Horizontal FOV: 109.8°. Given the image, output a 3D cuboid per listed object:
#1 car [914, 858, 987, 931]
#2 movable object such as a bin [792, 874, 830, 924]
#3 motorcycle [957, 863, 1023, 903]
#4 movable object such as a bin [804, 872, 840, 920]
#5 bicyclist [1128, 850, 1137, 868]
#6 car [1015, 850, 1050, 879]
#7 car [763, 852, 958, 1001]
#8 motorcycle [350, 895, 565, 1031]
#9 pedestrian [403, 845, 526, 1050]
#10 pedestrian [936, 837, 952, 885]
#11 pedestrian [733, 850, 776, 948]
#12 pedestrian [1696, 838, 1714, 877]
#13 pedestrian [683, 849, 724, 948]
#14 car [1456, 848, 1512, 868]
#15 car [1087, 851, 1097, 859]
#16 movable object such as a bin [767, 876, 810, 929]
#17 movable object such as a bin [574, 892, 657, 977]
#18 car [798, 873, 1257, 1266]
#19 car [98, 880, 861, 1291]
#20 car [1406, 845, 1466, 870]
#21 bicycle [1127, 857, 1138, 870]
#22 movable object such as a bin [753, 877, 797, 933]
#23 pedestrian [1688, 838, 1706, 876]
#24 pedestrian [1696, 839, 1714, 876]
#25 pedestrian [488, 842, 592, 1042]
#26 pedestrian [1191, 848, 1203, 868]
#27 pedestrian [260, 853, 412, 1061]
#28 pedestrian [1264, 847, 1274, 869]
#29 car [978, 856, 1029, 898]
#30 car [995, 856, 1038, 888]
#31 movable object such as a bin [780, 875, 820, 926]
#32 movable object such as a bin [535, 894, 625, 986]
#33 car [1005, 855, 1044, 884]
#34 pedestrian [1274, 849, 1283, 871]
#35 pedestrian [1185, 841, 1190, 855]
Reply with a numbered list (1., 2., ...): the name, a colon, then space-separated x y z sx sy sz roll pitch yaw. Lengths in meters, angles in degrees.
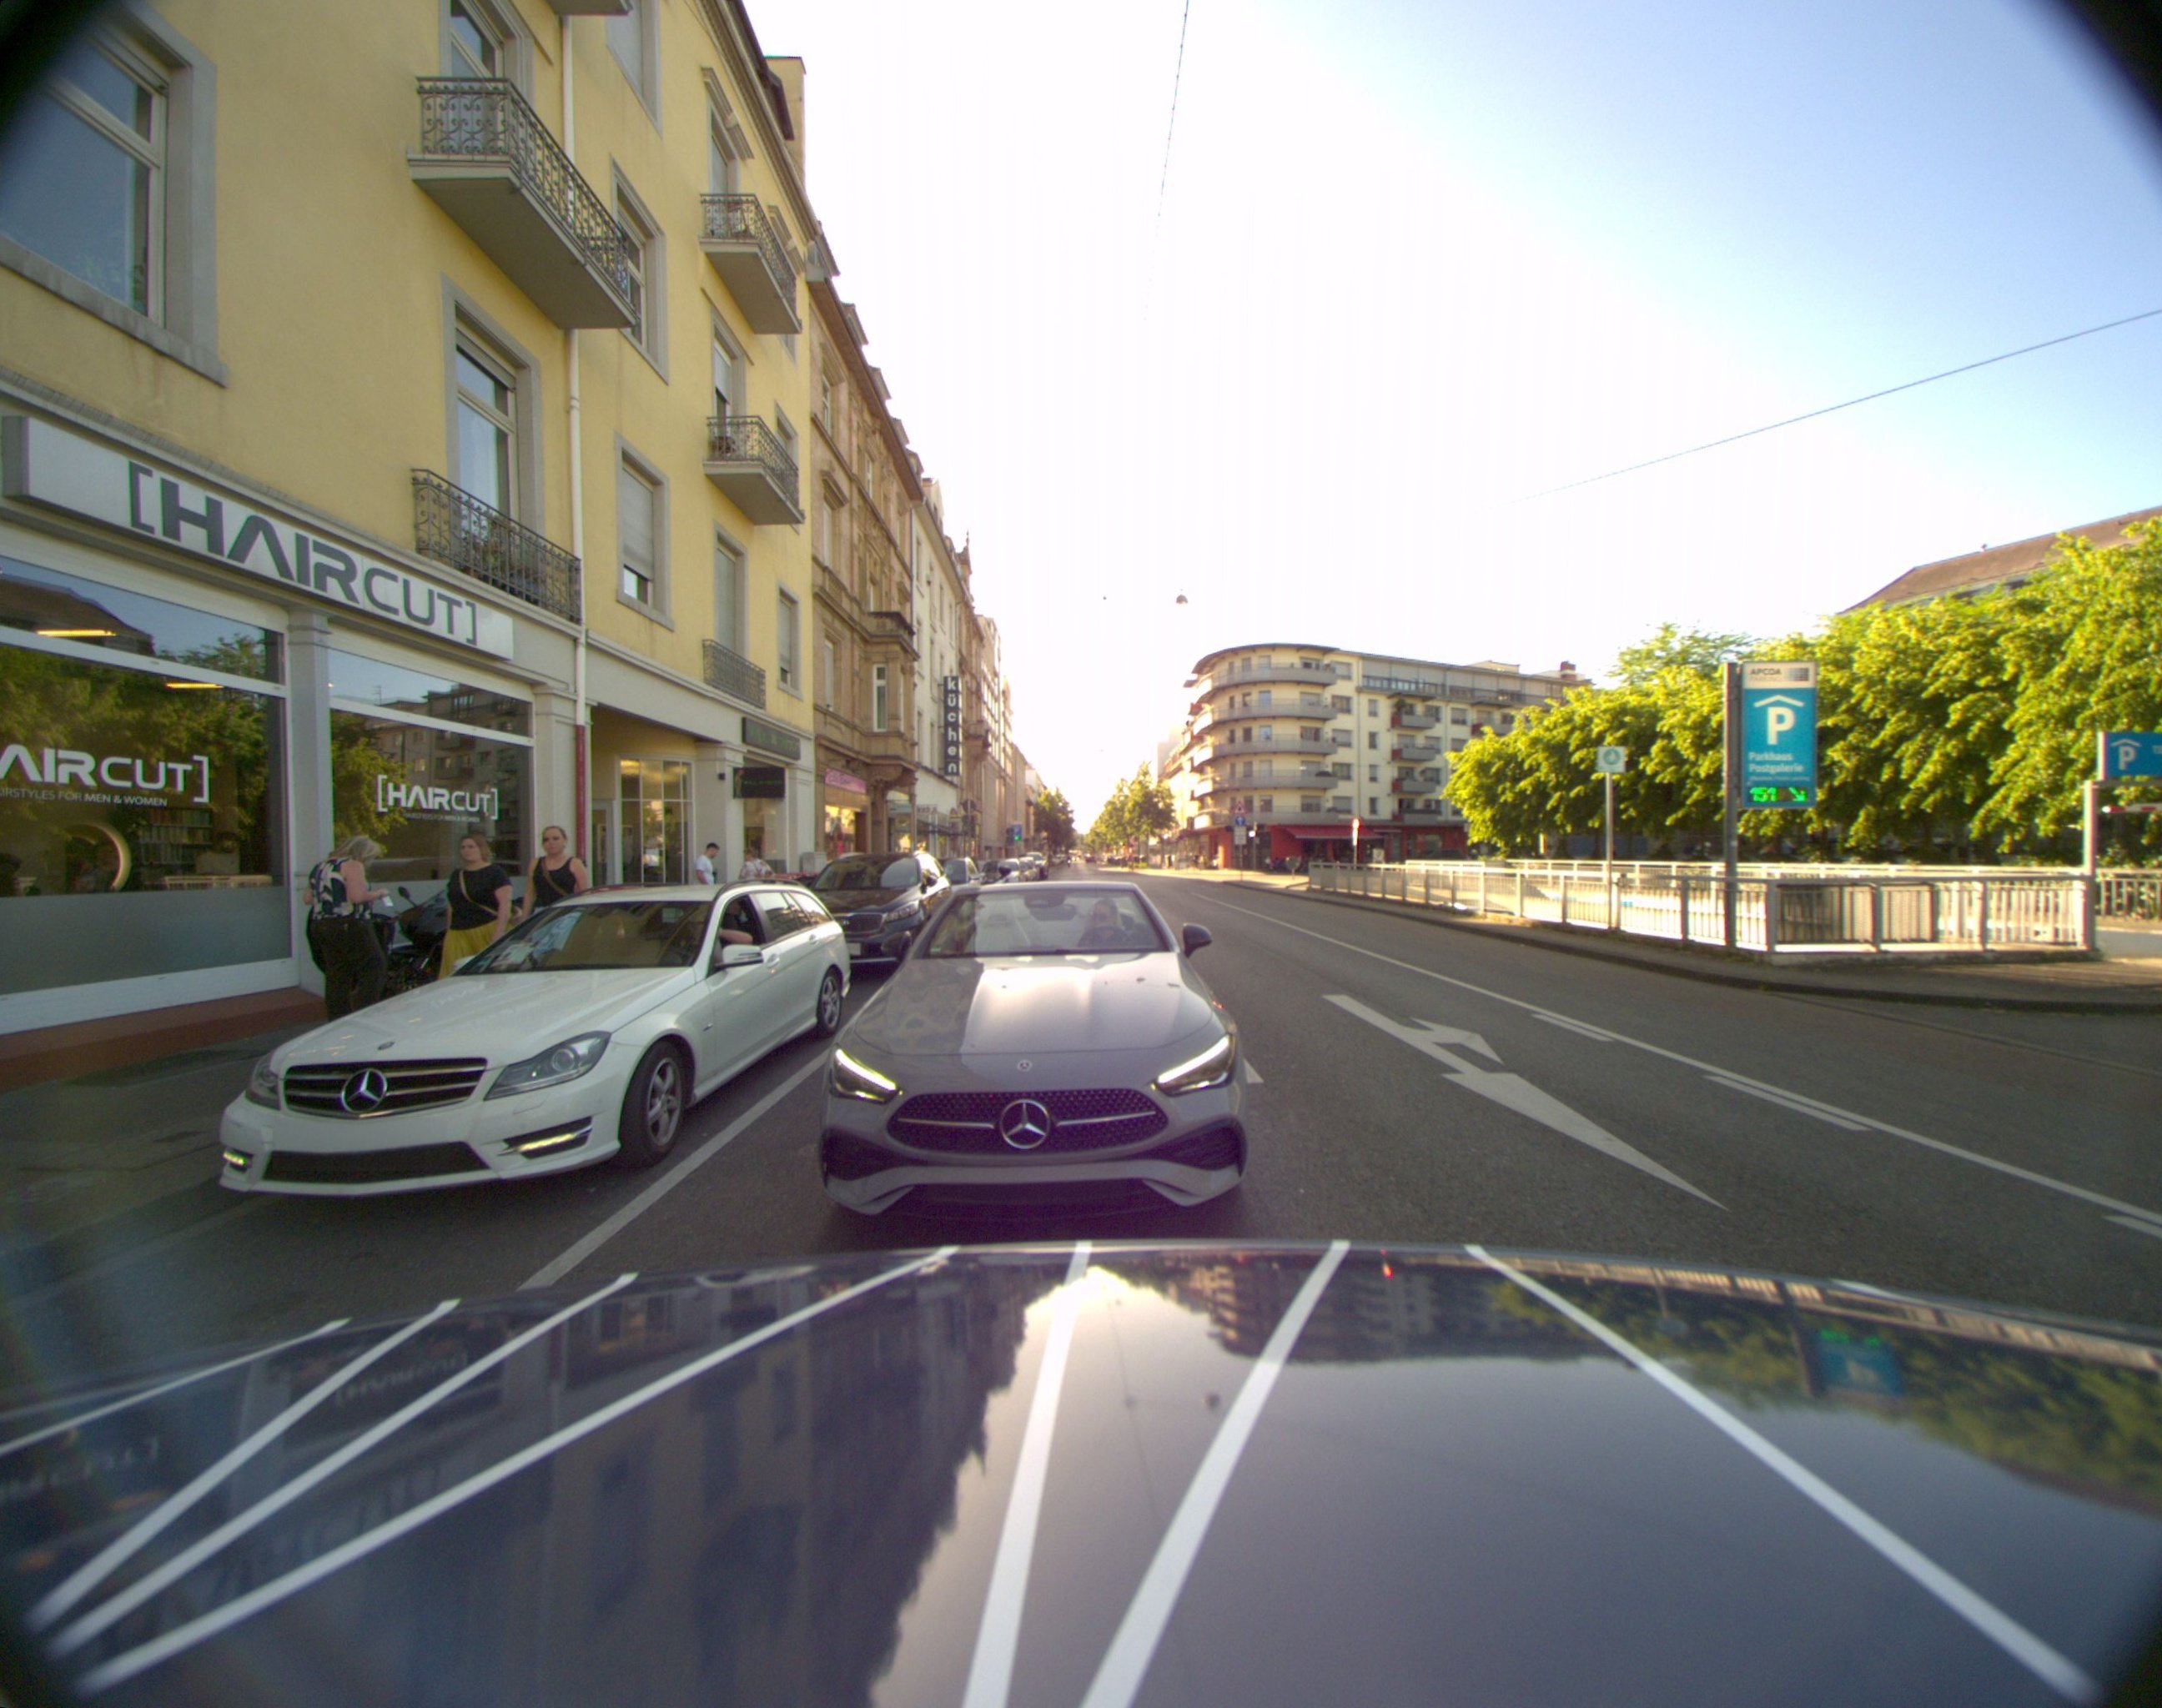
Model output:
1. car: -2.995 0.888 17.834 1.275 1.509 2.794 -1 0 -2
2. movable object such as a bin: -6.068 1.000 17.090 0.606 1.060 0.619 2 1 0
3. motorcycle: -3.162 0.994 26.585 2.178 1.272 0.866 -2 1 -42
4. movable object such as a bin: -6.054 0.979 17.778 0.606 1.060 0.619 2 1 0
5. bicyclist: 4.774 0.467 70.489 0.713 1.605 0.975 -2 1 -5
6. car: -3.007 0.624 47.725 1.895 1.680 4.049 -1 0 0
7. car: -2.980 0.852 11.323 1.760 1.726 4.571 -1 0 -3
8. motorcycle: -6.215 1.026 7.745 0.551 1.085 2.009 0 0 -1
9. pedestrian: -5.131 0.746 6.355 0.619 1.623 0.462 -2 1 -15
10. pedestrian: -5.158 0.263 28.640 0.434 1.752 0.481 -2 1 1
11. pedestrian: -5.657 0.765 13.176 0.594 1.651 0.450 0 1 -37
12. pedestrian: 29.438 0.169 35.821 0.602 1.782 0.581 -3 2 -45
13. pedestrian: -6.461 0.740 13.026 0.337 1.651 0.525 1 1 27
14. car: 34.275 0.321 64.678 4.300 1.611 1.951 -2 1 -24
15. car: 2.031 0.122 141.451 1.806 1.388 3.926 -1 0 0
16. movable object such as a bin: -6.091 1.002 15.842 0.606 1.060 0.619 2 1 0
17. movable object such as a bin: -6.083 1.035 9.947 0.669 1.019 0.619 2 1 3
18. car: -0.207 0.942 5.303 1.848 1.440 4.373 -1 0 0
19. car: -3.064 1.014 5.299 1.743 1.438 4.463 -1 0 0
20. car: 29.198 0.245 62.500 4.432 1.901 1.951 -2 1 -24
21. bicycle: 4.797 0.887 70.487 0.713 1.205 1.872 -1 0 -6
22. movable object such as a bin: -6.114 1.010 15.195 0.606 1.060 0.619 2 1 0
23. pedestrian: 29.658 0.154 36.570 0.602 1.782 0.581 -3 2 -45
24. pedestrian: 30.422 0.164 37.052 0.602 1.782 0.581 -3 2 -40
25. pedestrian: -4.526 0.718 6.375 0.514 1.623 0.415 -1 1 7
26. pedestrian: 9.602 0.357 62.981 0.774 1.606 0.696 -1 1 -3
27. pedestrian: -6.059 0.809 6.208 0.698 1.623 0.532 0 1 -2
28. pedestrian: 14.763 0.319 59.721 0.575 1.698 0.642 -1 1 3
29. car: -3.045 0.852 30.575 1.737 1.509 4.164 -1 0 -2
30. car: -3.078 0.835 36.842 1.737 1.409 3.802 -1 0 0
31. movable object such as a bin: -6.079 0.995 16.457 0.606 1.060 0.619 2 1 0
32. movable object such as a bin: -6.121 1.038 9.306 0.661 1.035 0.619 2 1 3
33. car: -3.001 0.801 41.095 1.737 1.409 3.802 -1 0 0
34. pedestrian: 15.452 0.446 59.451 0.575 1.698 0.642 -1 1 3
35. pedestrian: 11.142 -0.613 79.300 0.376 1.521 0.516 -2 1 -3
